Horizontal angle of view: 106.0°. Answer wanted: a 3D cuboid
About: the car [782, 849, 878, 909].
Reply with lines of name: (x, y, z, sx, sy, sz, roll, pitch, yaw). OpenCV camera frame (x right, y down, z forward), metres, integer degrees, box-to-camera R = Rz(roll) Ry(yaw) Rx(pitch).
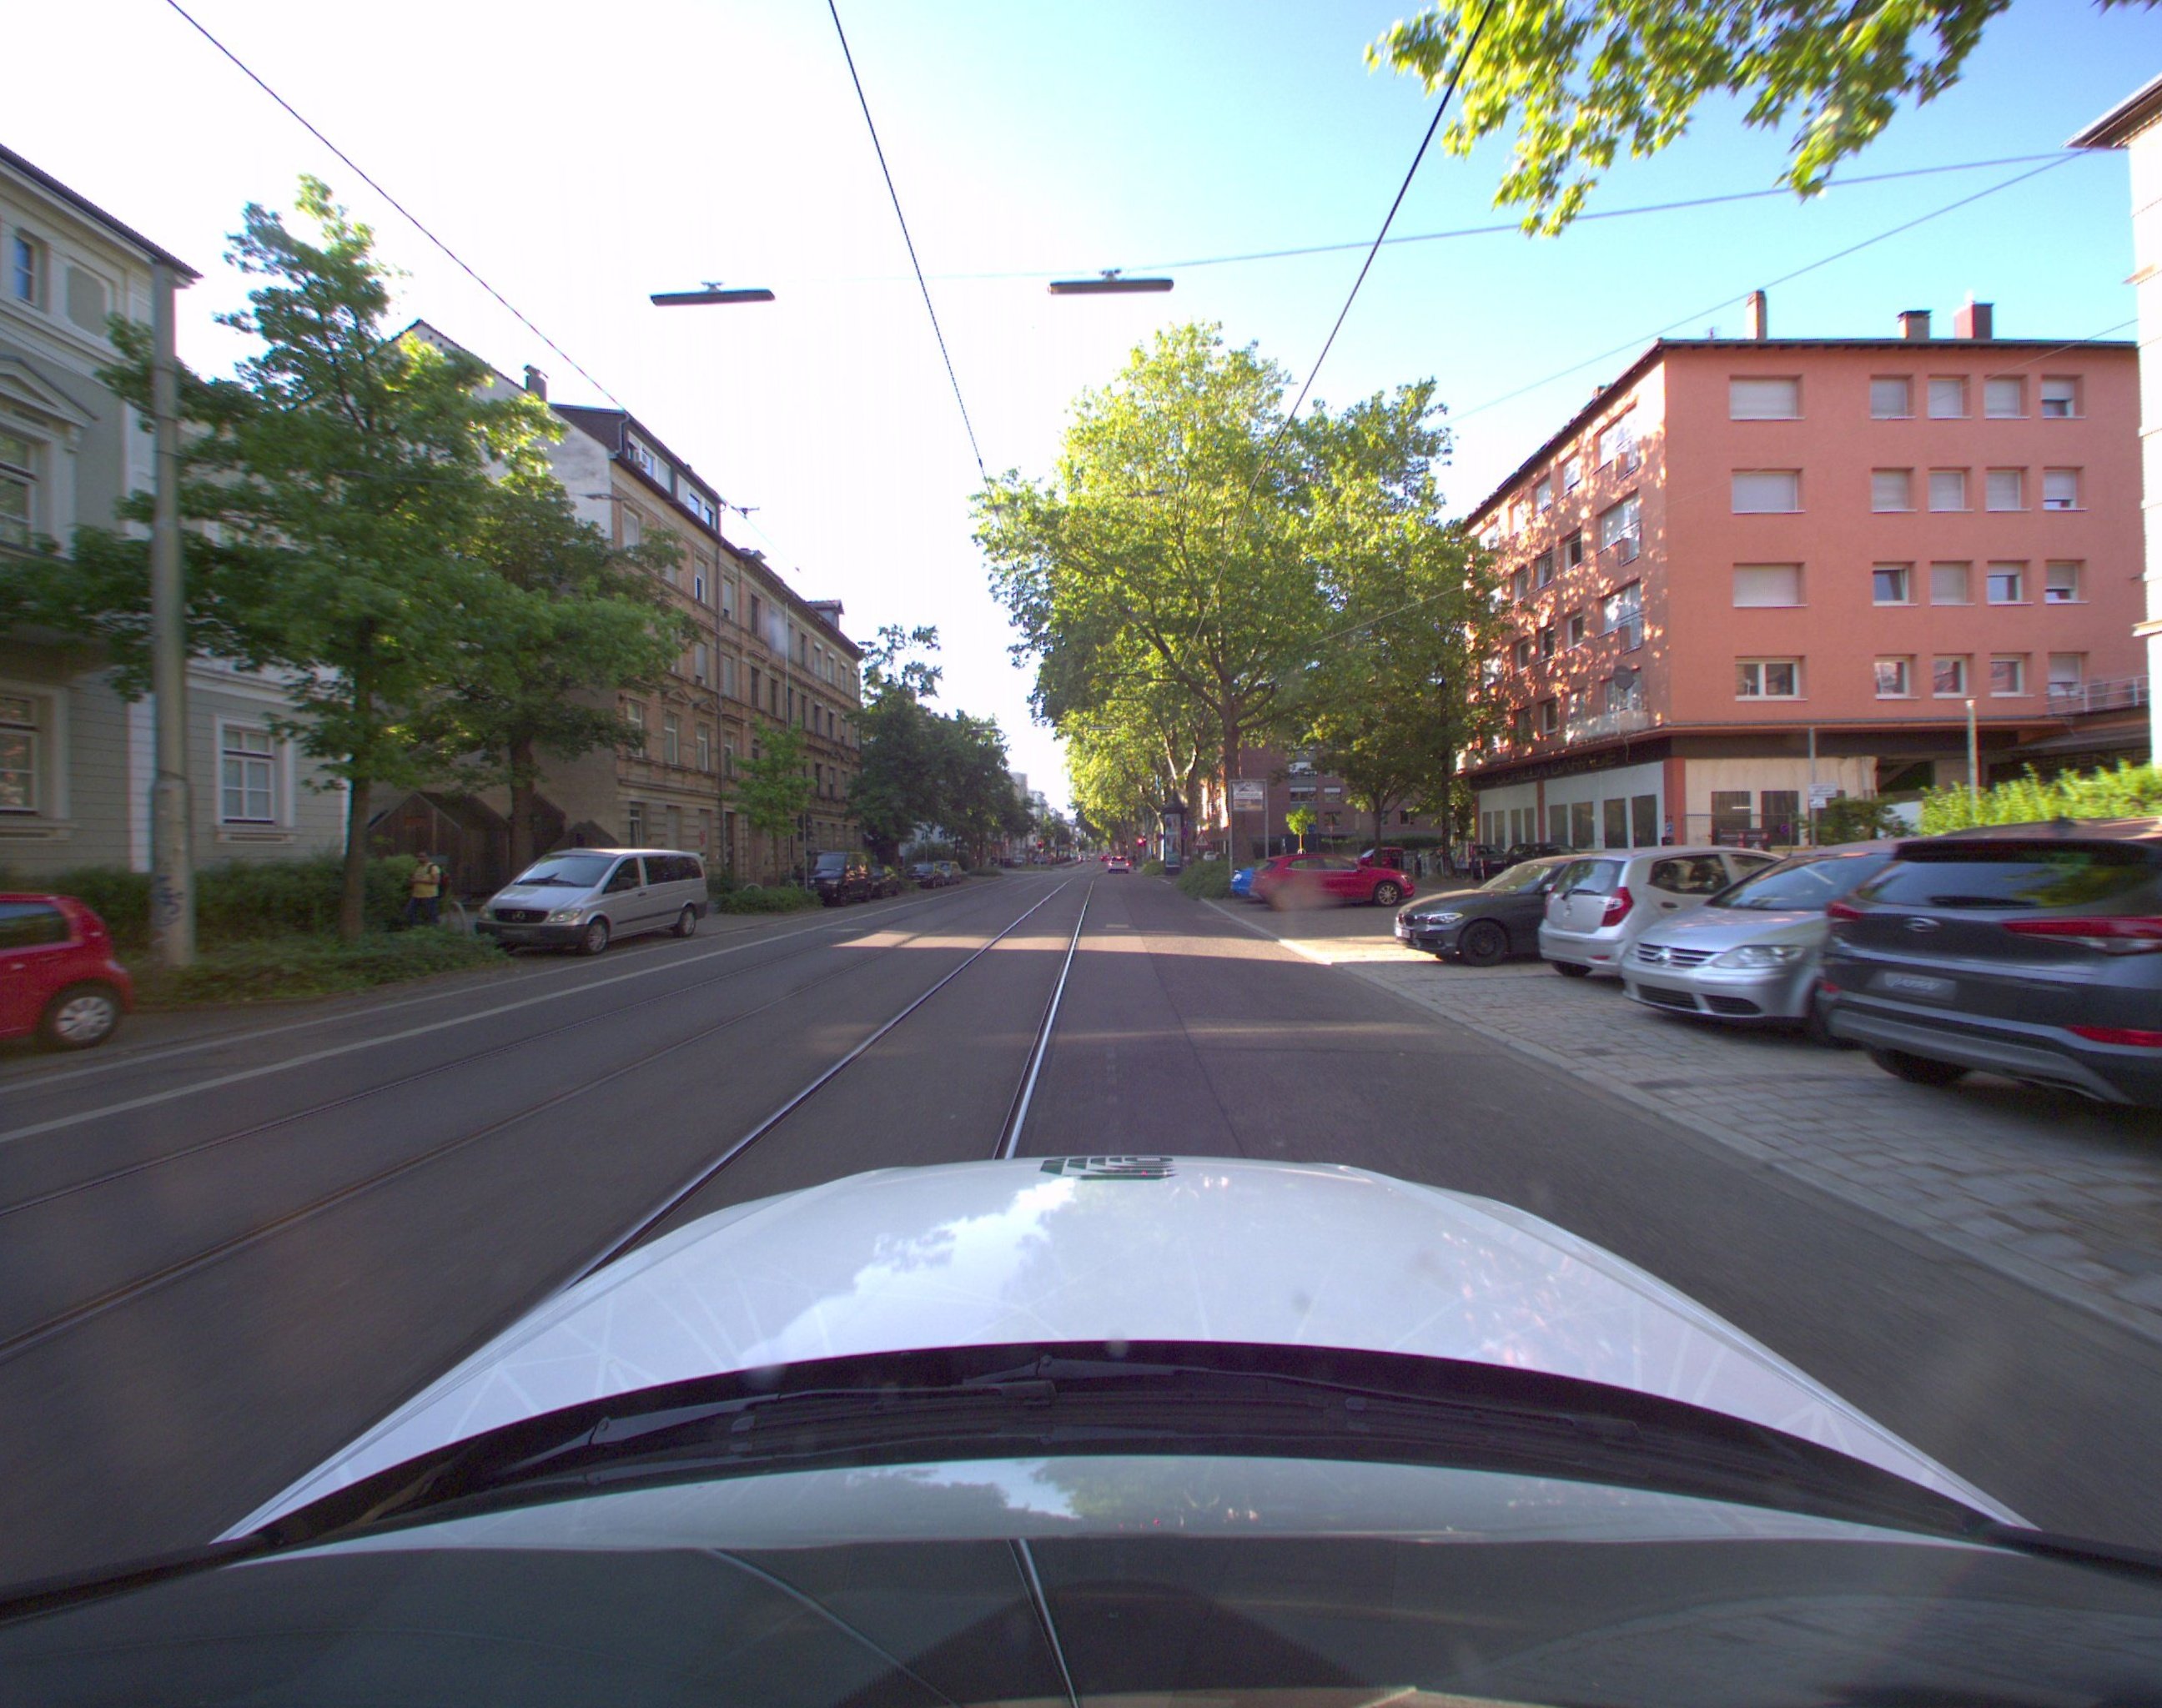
car: (-9.237, 0.874, 30.448, 1.987, 2.013, 4.834, -2, 0, 0)

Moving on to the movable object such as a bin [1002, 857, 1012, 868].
movable object such as a bin: (-9.423, 1.096, 103.084, 1.167, 1.348, 0.782, 2, 0, -3)

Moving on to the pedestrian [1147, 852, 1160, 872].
pedestrian: (7.185, 0.778, 80.758, 0.981, 1.863, 1.014, -5, 0, -4)

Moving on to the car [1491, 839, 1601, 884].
car: (16.404, 0.247, 28.971, 1.742, 1.435, 3.951, -2, 0, 2)

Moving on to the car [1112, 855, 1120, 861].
car: (8.700, 1.061, 202.390, 1.986, 1.453, 4.001, -1, 0, 1)

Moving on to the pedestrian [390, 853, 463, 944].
pedestrian: (-12.419, 0.818, 15.472, 0.602, 1.662, 0.948, 0, 0, 2)

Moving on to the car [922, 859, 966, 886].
car: (-8.594, 1.140, 51.389, 1.692, 1.550, 4.541, -1, 0, 4)

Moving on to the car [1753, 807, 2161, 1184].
car: (6.579, 0.555, 4.524, 4.188, 1.619, 1.877, -2, 0, -2)

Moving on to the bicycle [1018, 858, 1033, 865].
bicycle: (-8.671, 1.185, 126.381, 2.244, 1.074, 0.637, 2, 0, 2)

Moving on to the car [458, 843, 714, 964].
car: (-9.457, 0.828, 16.186, 1.836, 1.989, 4.991, -2, 0, 2)

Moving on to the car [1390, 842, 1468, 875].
car: (17.954, 0.202, 42.263, 1.786, 1.574, 4.571, -2, 0, -4)

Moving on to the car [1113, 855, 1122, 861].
car: (8.763, 1.039, 197.301, 1.986, 1.453, 4.001, -1, 0, 1)

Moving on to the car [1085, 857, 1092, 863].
car: (1.875, 1.356, 200.232, 1.688, 1.419, 4.001, -1, 0, 1)

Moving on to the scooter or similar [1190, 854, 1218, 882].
scooter or similar: (5.800, 0.665, 38.471, 1.204, 1.240, 0.569, -2, -1, -1)

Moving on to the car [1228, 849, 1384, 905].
car: (6.734, 0.673, 24.807, 4.378, 1.543, 1.822, -2, 0, 8)

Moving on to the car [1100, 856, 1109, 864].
car: (4.974, 1.282, 174.819, 1.782, 1.513, 4.001, -1, 0, 1)

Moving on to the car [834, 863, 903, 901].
car: (-9.203, 1.172, 35.617, 1.847, 1.458, 4.270, -2, 0, 0)

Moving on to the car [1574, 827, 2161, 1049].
car: (6.847, 0.618, 6.920, 4.182, 1.574, 1.819, -2, 0, 3)

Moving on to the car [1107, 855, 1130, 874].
car: (3.127, 0.897, 68.902, 1.782, 1.513, 4.001, -1, 0, 1)

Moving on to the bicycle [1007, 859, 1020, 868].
bicycle: (-8.723, 1.260, 105.146, 1.528, 1.075, 0.885, 2, 0, 0)

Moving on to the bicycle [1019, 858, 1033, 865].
bicycle: (-8.742, 1.199, 129.393, 2.244, 1.074, 0.637, 2, 0, 2)

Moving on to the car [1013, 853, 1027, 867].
car: (-8.713, 0.803, 116.439, 1.682, 1.940, 4.001, -2, 0, 1)

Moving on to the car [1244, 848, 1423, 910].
car: (6.860, 0.661, 22.520, 4.384, 1.543, 1.953, -2, 0, 3)

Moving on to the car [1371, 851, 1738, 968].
car: (6.581, 0.733, 11.669, 4.185, 1.448, 1.818, -2, 0, 0)

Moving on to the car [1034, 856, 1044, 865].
car: (-7.680, 1.176, 148.542, 1.587, 1.548, 4.001, 1, 0, 1)

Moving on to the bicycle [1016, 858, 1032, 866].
bicycle: (-8.654, 1.196, 123.946, 2.244, 1.074, 0.637, 2, 0, 2)

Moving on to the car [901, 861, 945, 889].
car: (-8.852, 1.144, 45.939, 1.652, 1.445, 3.950, -1, 0, 1)

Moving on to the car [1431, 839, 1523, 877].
car: (16.411, 0.167, 34.016, 1.742, 1.435, 4.469, -2, 0, 2)

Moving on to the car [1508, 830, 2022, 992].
car: (7.413, 0.590, 9.208, 4.182, 1.555, 1.819, -2, 0, 3)

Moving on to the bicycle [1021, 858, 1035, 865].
bicycle: (-8.552, 1.217, 131.222, 2.244, 1.074, 0.637, 2, 0, 2)

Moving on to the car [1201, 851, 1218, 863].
car: (16.364, 0.359, 103.932, 1.595, 1.495, 3.416, -2, 0, 0)

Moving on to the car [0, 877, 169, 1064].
car: (-9.968, 1.024, 6.260, 1.679, 1.539, 3.708, -2, 0, 1)

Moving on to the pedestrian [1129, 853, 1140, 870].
pedestrian: (5.531, 0.772, 84.279, 0.992, 1.811, 0.863, -2, 0, -4)

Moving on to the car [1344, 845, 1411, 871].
car: (18.370, 0.222, 50.546, 3.527, 1.452, 1.683, -2, 0, -1)
